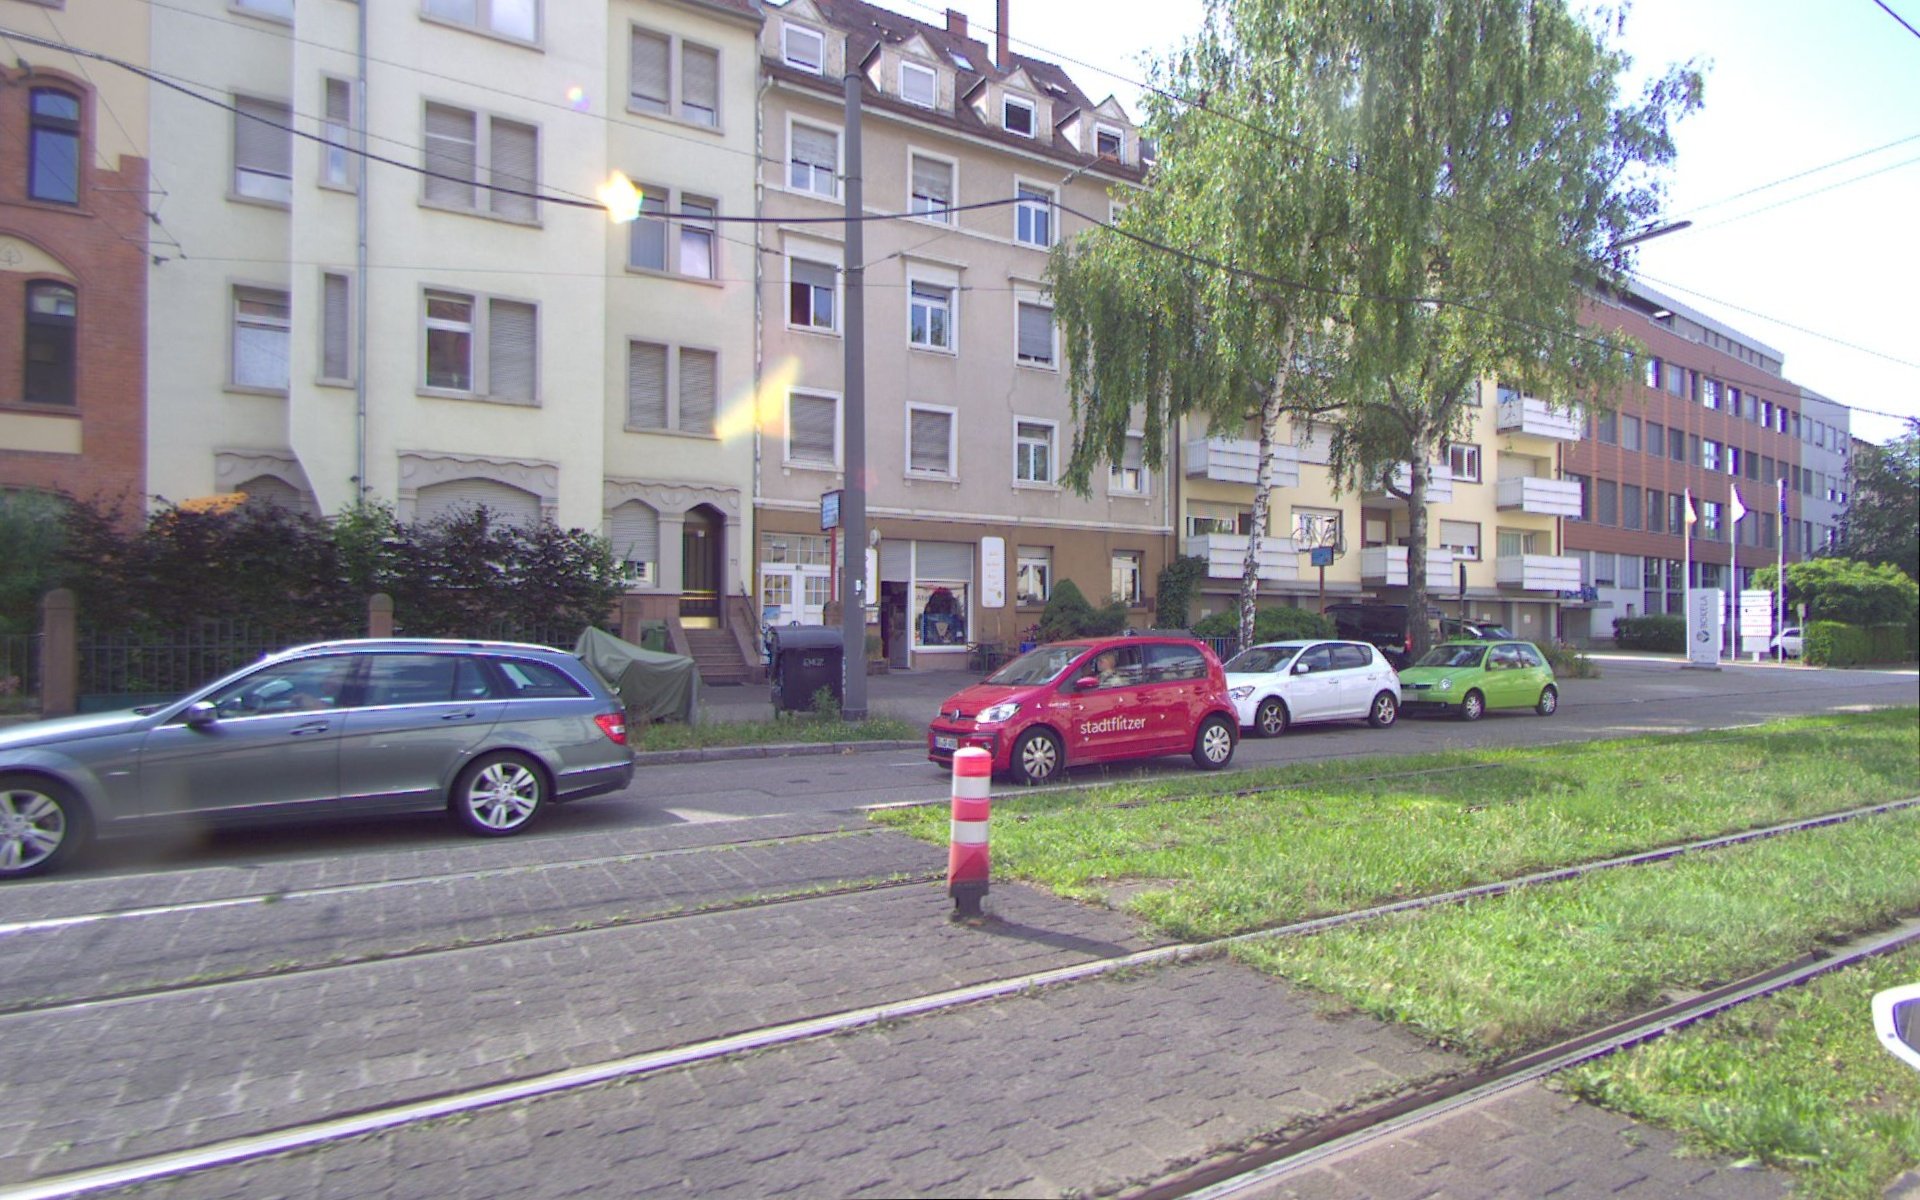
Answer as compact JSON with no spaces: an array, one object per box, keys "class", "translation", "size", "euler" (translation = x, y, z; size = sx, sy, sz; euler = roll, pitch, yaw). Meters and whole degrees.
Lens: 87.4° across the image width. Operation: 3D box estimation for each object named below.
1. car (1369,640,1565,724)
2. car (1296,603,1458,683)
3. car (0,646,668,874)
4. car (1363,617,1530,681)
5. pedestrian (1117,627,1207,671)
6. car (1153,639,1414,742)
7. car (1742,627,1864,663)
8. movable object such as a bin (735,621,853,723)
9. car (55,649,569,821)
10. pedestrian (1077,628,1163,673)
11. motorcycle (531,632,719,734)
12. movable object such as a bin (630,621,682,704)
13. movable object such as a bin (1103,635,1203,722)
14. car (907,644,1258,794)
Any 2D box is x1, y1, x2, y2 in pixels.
[{"class":"car","translation":[9.661,1.493,19.121],"size":[3.569,1.451,1.588],"euler":[1,-2,-28]},{"class":"car","translation":[11.658,1.142,28.373],"size":[1.911,2.040,3.975],"euler":[1,0,-25]},{"class":"car","translation":[-4.681,1.059,7.692],"size":[4.455,1.373,1.749],"euler":[1,-4,-28]},{"class":"car","translation":[14.057,1.365,29.239],"size":[1.948,1.623,3.970],"euler":[1,0,-28]},{"class":"pedestrian","translation":[5.479,1.306,27.441],"size":[1.116,1.144,2.503],"euler":[1,-2,-27]},{"class":"car","translation":[5.330,1.398,16.431],"size":[4.173,1.497,1.638],"euler":[1,-3,-29]},{"class":"car","translation":[39.412,2.066,47.051],"size":[1.978,1.617,3.966],"euler":[1,-2,-31]},{"class":"movable object such as a bin","translation":[-2.515,1.055,15.215],"size":[1.503,1.385,0.946],"euler":[1,3,-30]},{"class":"car","translation":[-6.075,1.188,9.966],"size":[3.944,1.374,1.749],"euler":[1,-2,-28]},{"class":"pedestrian","translation":[4.238,1.337,26.813],"size":[1.053,1.153,2.396],"euler":[1,-2,-27]},{"class":"motorcycle","translation":[-4.512,1.072,13.611],"size":[2.272,1.259,0.894],"euler":[1,-2,-35]},{"class":"movable object such as a bin","translation":[-5.197,1.057,17.165],"size":[0.691,1.380,0.669],"euler":[1,-1,-32]},{"class":"movable object such as a bin","translation":[3.490,1.384,18.170],"size":[1.503,1.449,0.946],"euler":[1,1,-30]},{"class":"car","translation":[1.385,1.197,11.127],"size":[3.647,1.405,1.572],"euler":[1,-2,-29]}]
